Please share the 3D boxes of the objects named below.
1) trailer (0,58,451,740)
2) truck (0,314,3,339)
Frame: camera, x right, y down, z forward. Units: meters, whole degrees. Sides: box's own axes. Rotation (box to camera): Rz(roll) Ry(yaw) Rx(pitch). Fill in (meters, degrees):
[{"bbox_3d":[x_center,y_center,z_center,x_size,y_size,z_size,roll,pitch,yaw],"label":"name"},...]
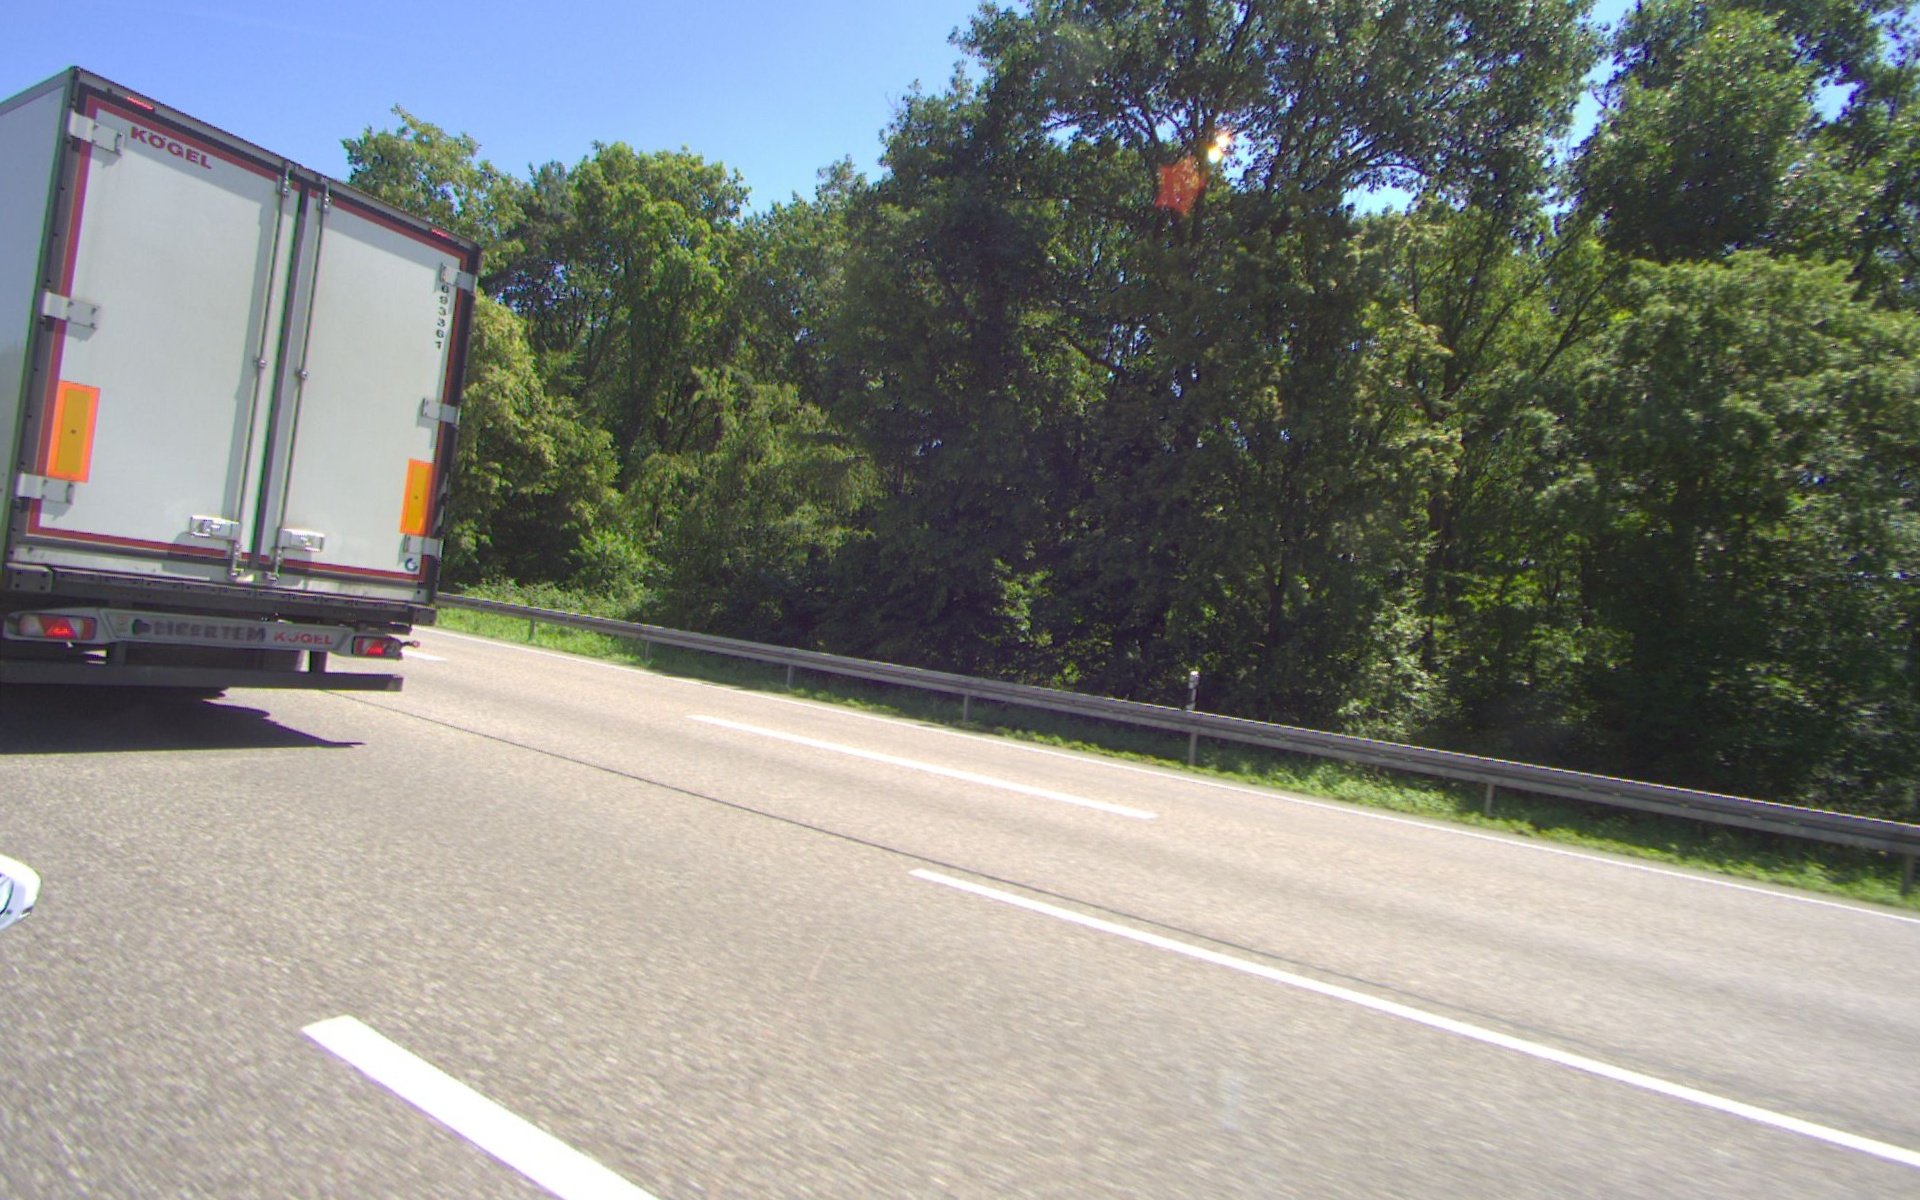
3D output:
[{"bbox_3d":[-10.523,-1.691,10.459,12.148,4.194,3.228,7,0,32],"label":"trailer"},{"bbox_3d":[-16.934,-2.427,14.515,4.484,4.208,3.233,7,0,32],"label":"truck"}]
